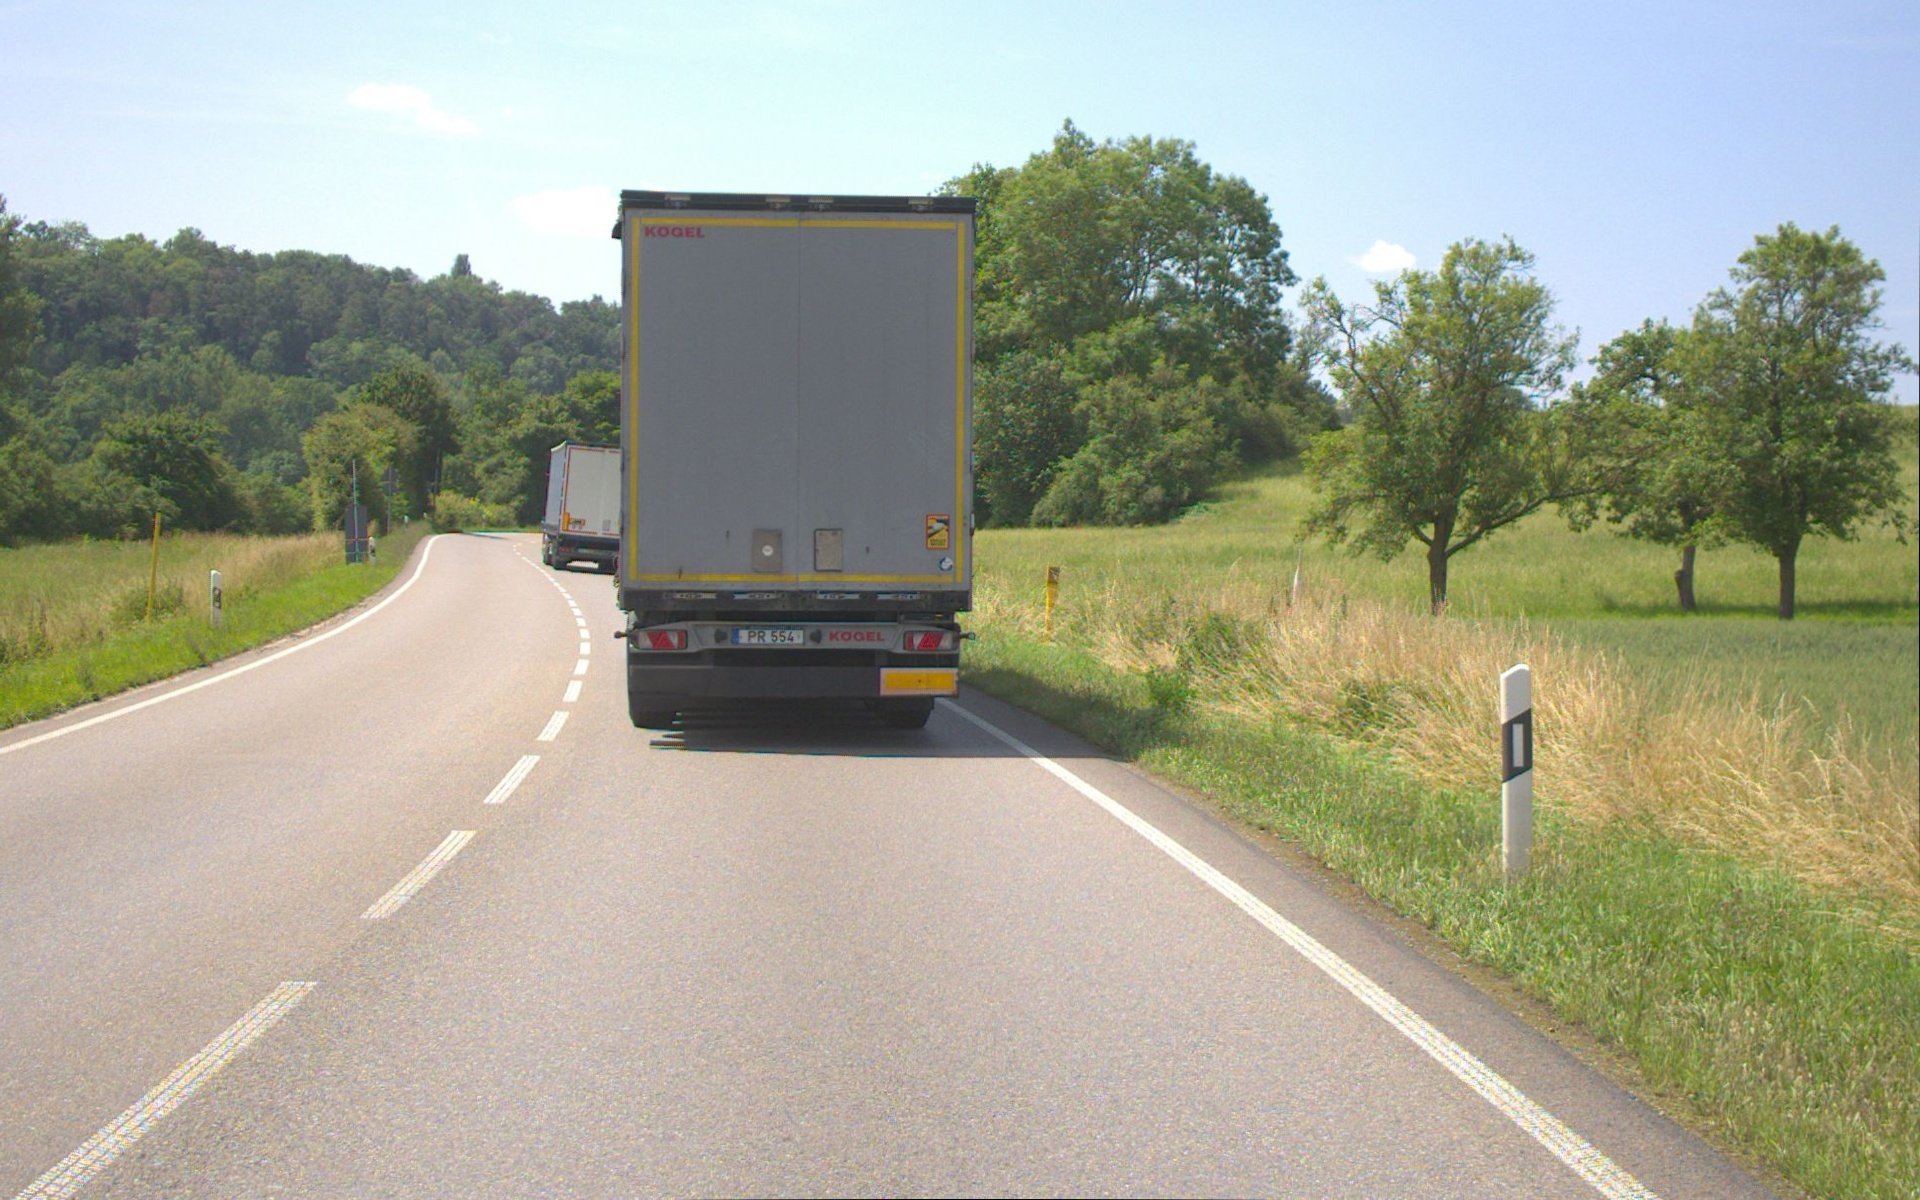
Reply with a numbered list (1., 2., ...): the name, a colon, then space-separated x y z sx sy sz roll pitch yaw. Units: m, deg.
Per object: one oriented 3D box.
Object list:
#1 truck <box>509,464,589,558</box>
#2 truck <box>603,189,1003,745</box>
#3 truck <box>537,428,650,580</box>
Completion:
1. truck: -20.746 -4.393 173.777 3.636 4.115 13.099 3 -1 -7
2. truck: -1.582 -1.048 29.335 2.807 3.932 9.593 1 1 -6
3. truck: -12.319 -3.117 114.222 2.960 4.568 16.320 3 1 -8
